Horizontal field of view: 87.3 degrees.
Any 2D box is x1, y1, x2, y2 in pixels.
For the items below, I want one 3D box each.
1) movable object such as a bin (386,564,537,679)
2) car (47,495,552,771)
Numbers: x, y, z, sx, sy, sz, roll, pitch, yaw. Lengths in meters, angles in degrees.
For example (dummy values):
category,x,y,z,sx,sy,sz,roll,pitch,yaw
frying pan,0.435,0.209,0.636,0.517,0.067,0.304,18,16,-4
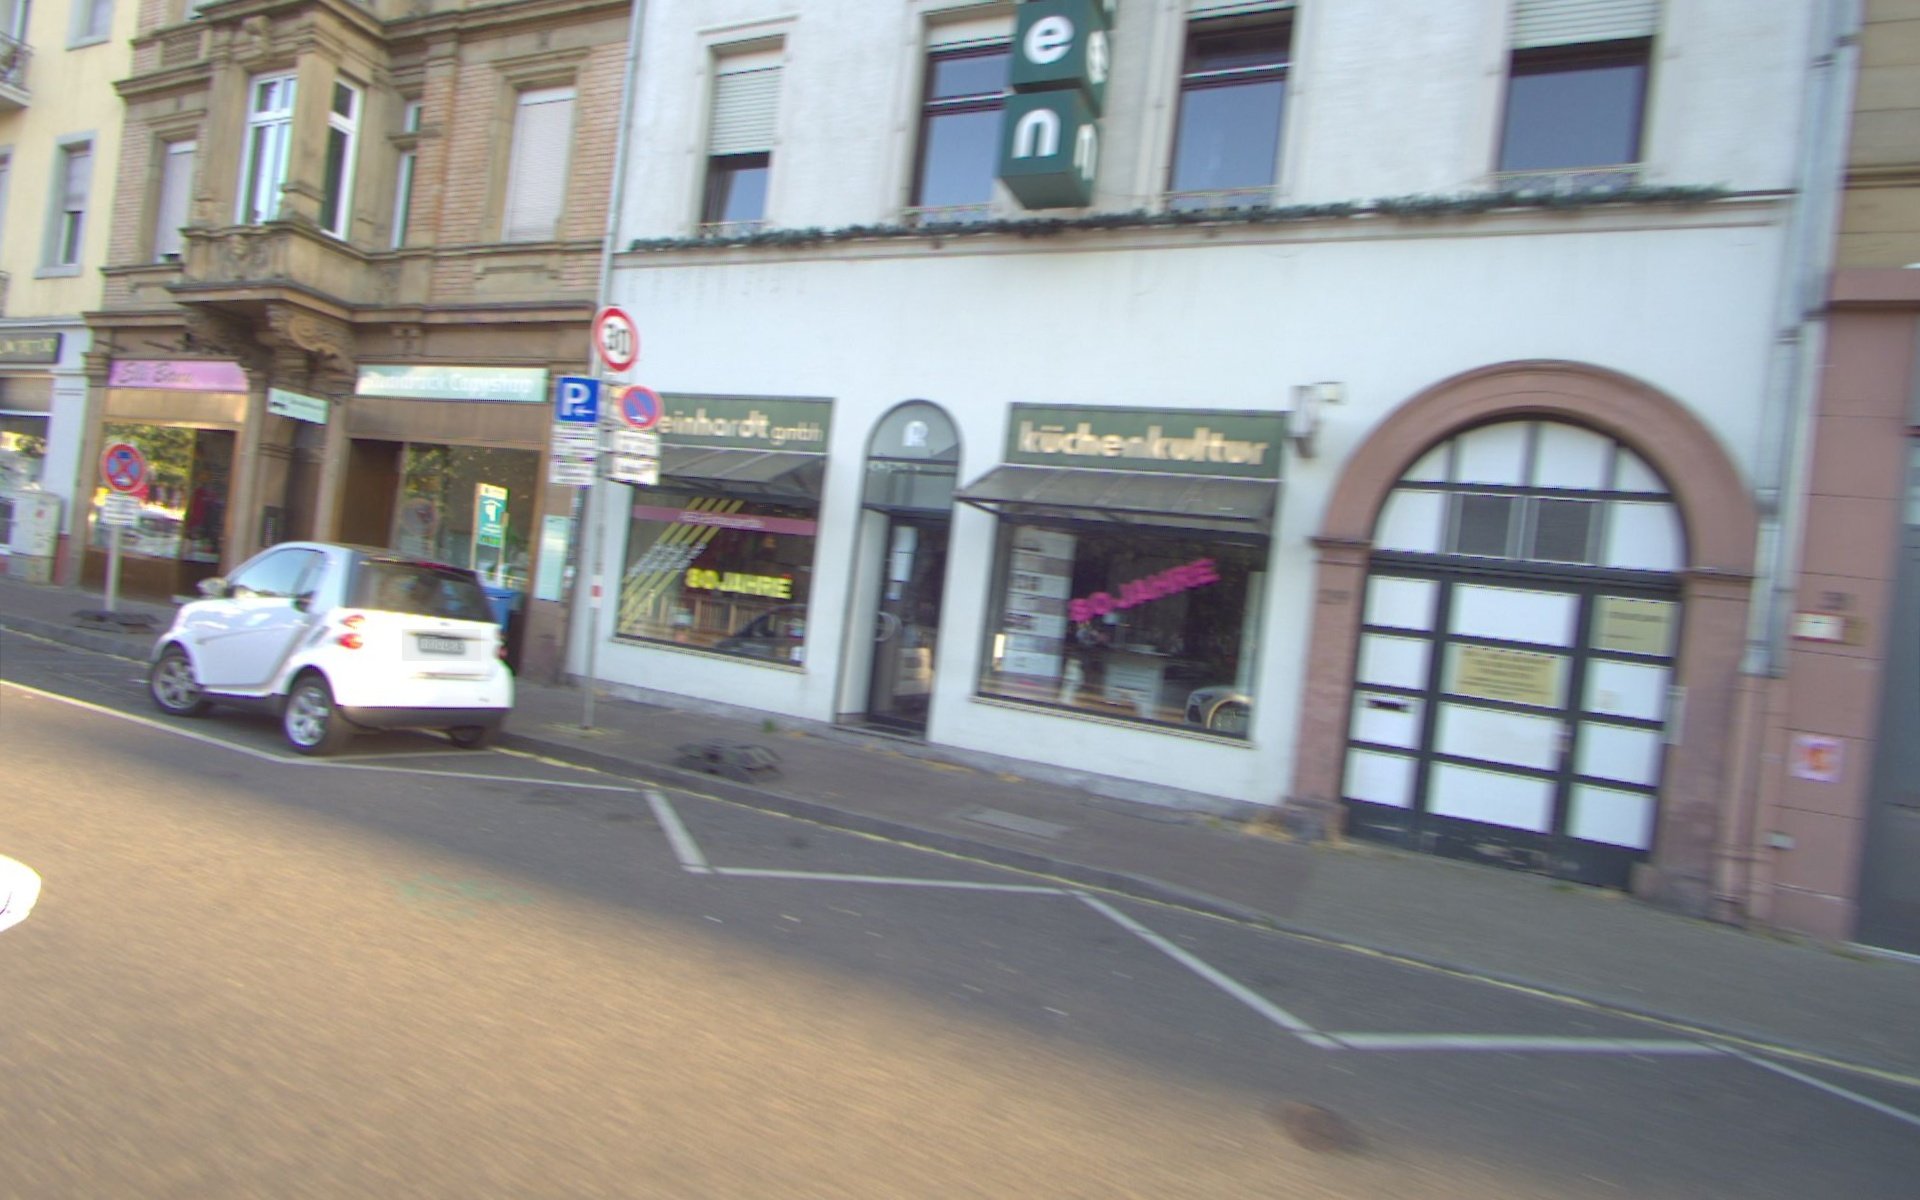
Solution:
category,x,y,z,sx,sy,sz,roll,pitch,yaw
movable object such as a bin,-6.094,0.269,12.311,1.373,1.201,0.869,7,0,24
car,-5.704,0.207,8.664,3.928,1.604,1.705,8,0,25
